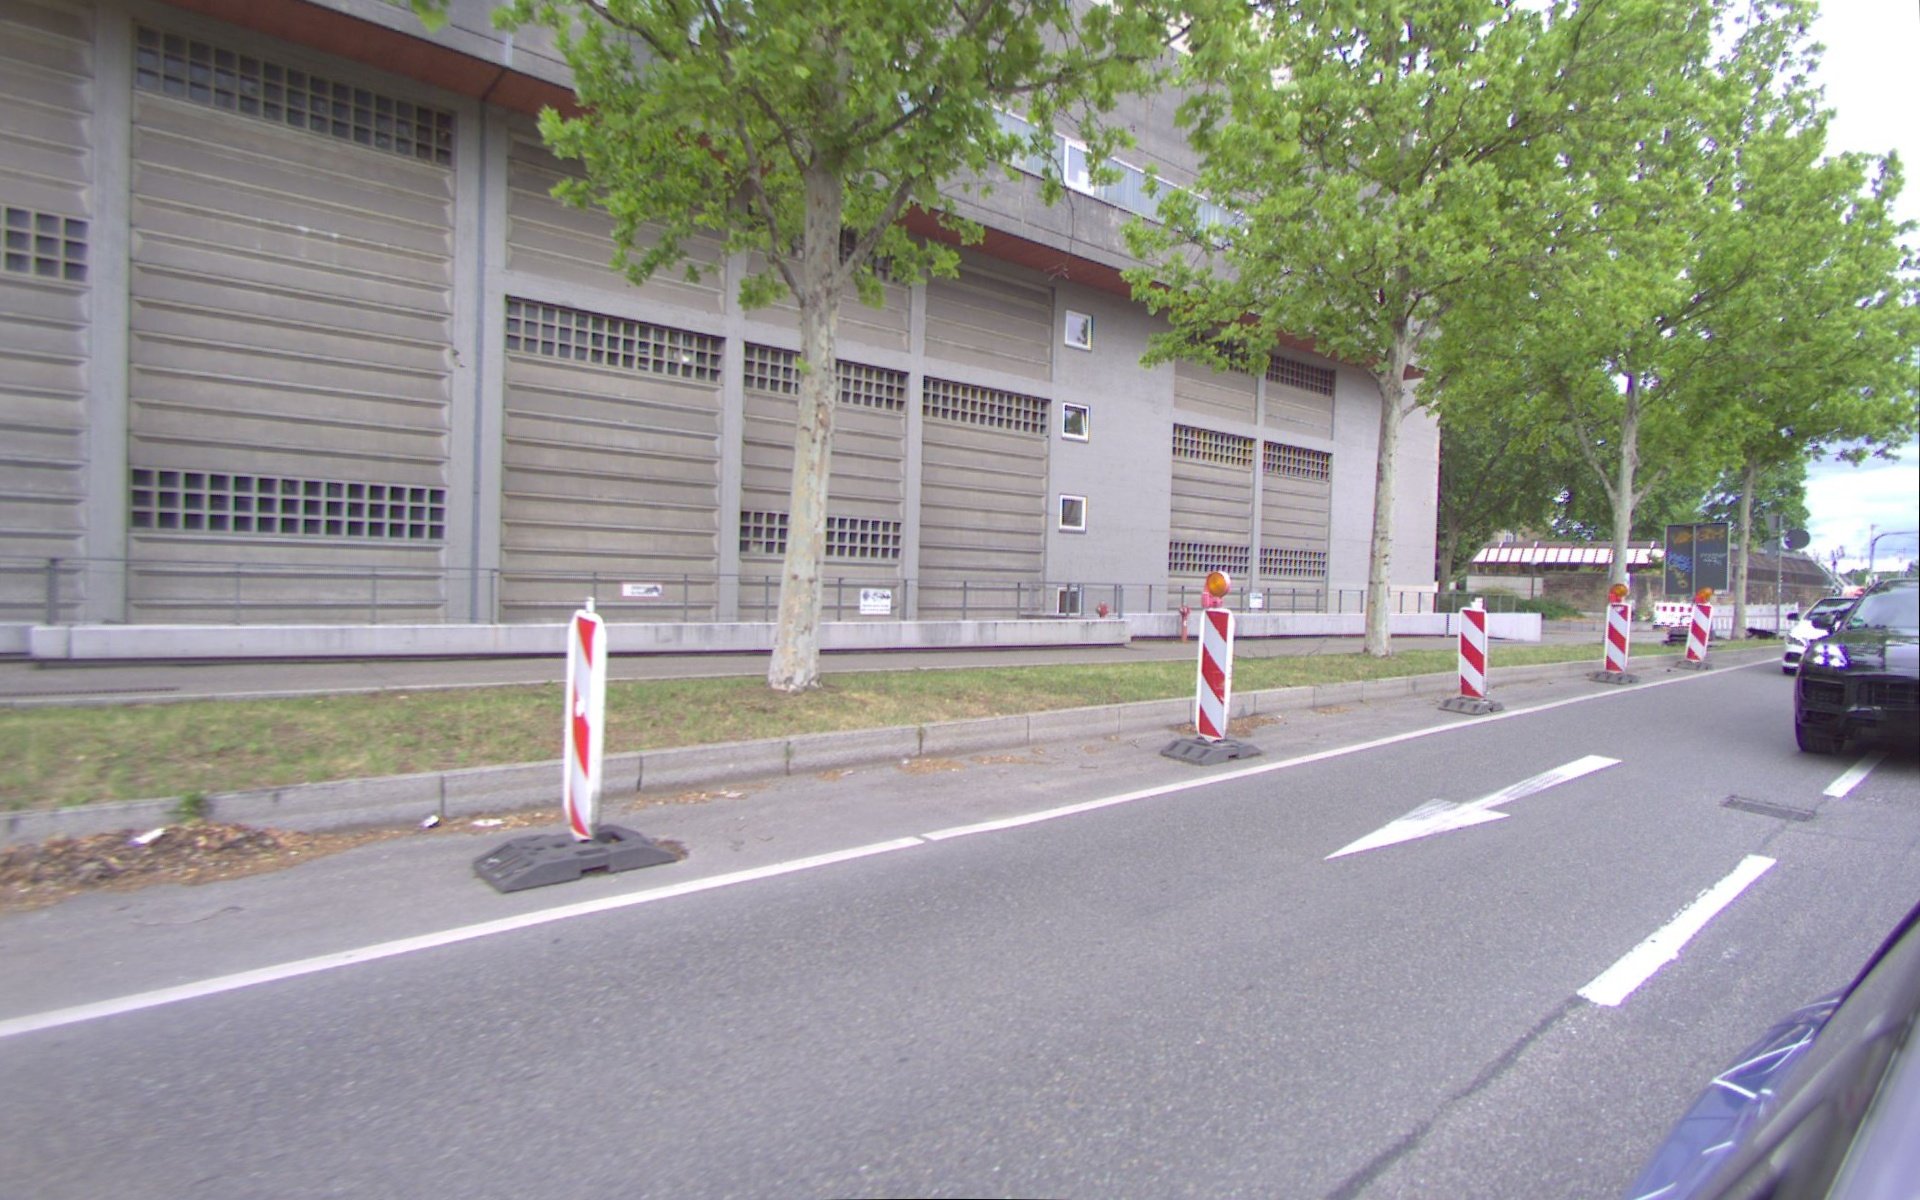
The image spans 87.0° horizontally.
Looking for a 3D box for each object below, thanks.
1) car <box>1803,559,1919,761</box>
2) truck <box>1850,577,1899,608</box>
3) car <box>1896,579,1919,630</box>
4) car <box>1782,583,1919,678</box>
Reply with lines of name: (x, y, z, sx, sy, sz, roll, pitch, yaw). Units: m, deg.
car: (9.773, 0.450, 9.677, 4.529, 1.668, 1.954, -2, 1, -41)
truck: (116.131, -0.918, 128.600, 2.889, 3.720, 8.925, 2, 2, 31)
car: (36.956, 0.180, 38.319, 3.707, 1.848, 1.811, 0, 2, -41)
car: (16.591, 0.475, 18.286, 4.301, 1.453, 1.740, 0, 3, -38)
